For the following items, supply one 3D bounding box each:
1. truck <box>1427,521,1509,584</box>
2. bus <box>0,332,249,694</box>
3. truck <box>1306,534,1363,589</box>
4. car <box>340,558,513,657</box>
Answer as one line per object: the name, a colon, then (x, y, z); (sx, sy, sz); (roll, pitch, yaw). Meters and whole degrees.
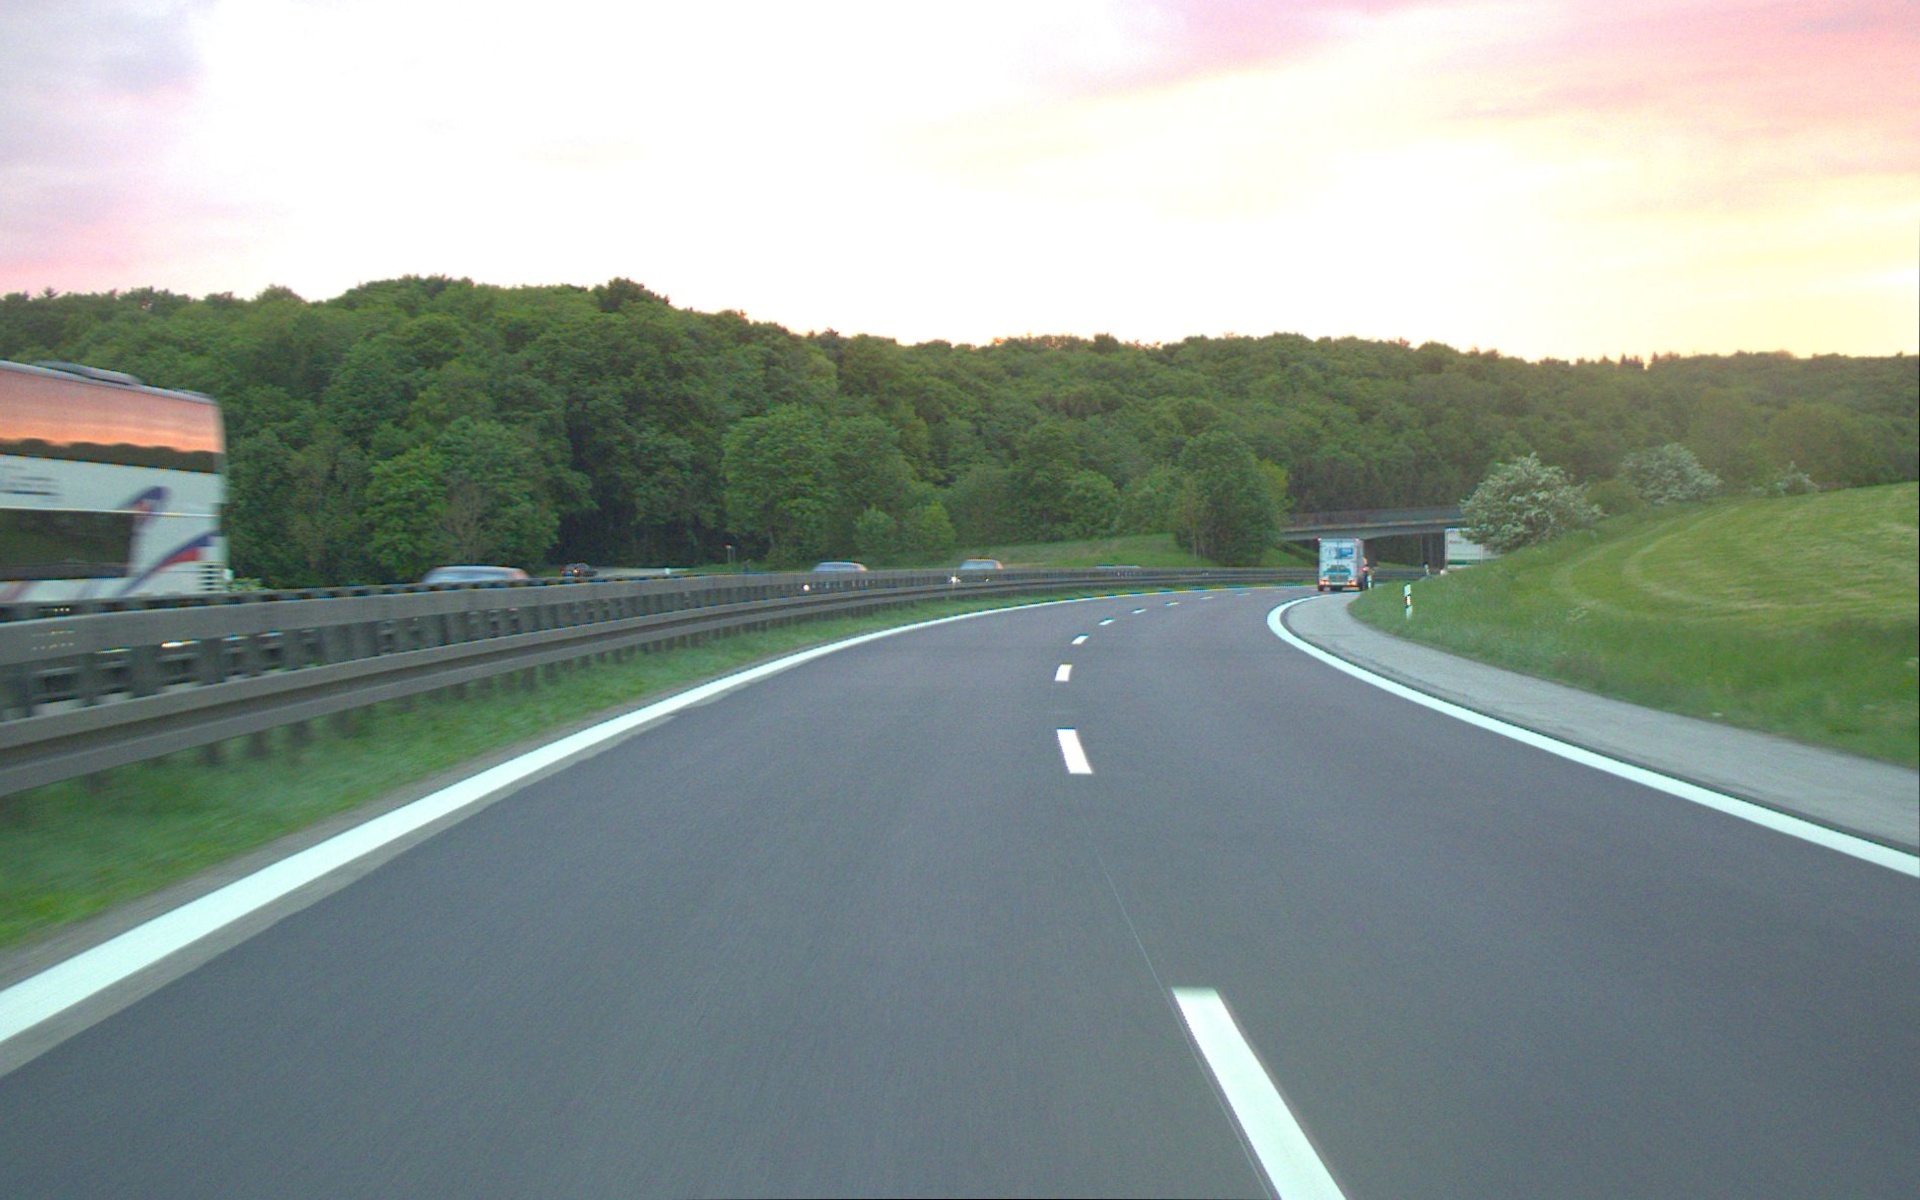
truck: (36.045, -3.287, 243.422); (3.961, 4.272, 14.312); (0, 0, 15)
bus: (-12.250, -1.022, 43.069); (3.166, 4.062, 14.810); (1, 0, 2)
truck: (18.945, -1.964, 173.811); (2.277, 2.656, 5.233); (-2, 1, 12)
car: (-8.506, 0.087, 55.140); (1.851, 1.470, 4.167); (-1, 1, 4)
